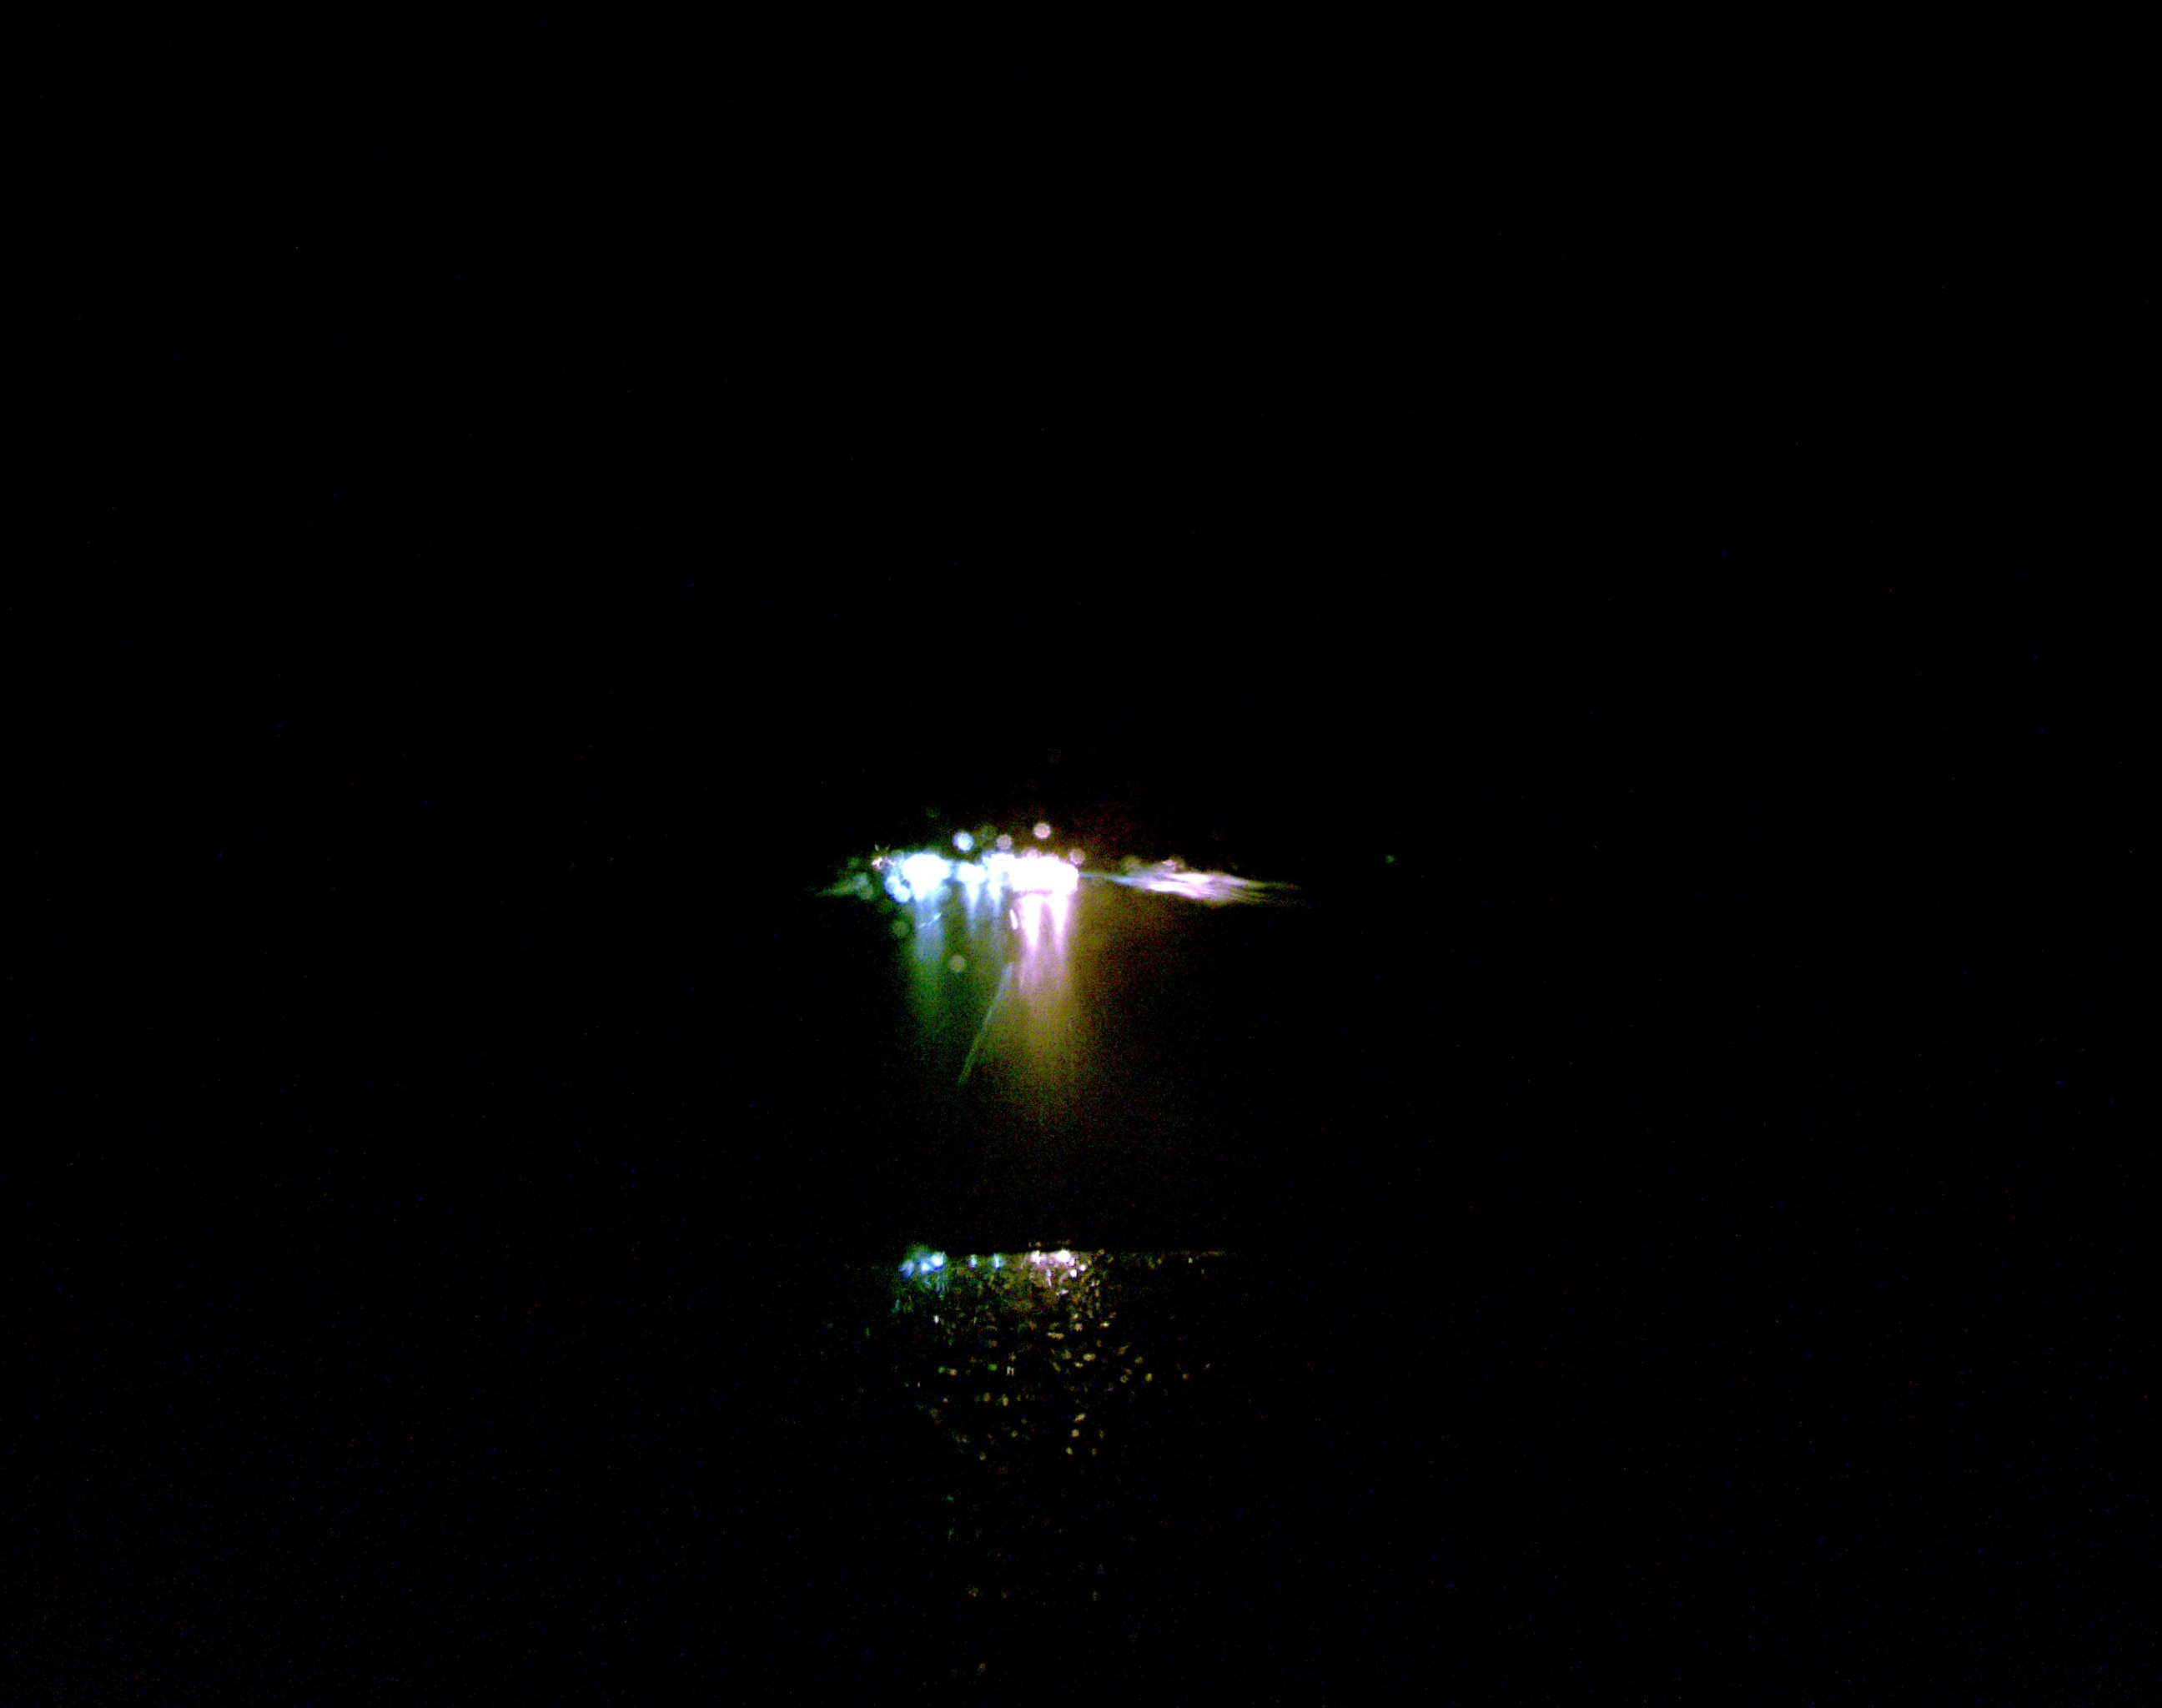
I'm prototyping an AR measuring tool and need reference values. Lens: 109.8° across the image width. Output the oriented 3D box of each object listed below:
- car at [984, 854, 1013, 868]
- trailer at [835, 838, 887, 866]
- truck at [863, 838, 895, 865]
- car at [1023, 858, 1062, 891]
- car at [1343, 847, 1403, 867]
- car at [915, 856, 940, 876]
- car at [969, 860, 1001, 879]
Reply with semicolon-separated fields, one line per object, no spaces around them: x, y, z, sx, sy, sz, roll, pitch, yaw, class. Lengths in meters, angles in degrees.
-10.941;0.943;101.049;1.793;1.641;4.042;-3;0;-40;car
-37.115;-0.279;127.720;2.545;4.312;13.672;-3;1;-41;trailer
-32.559;-0.381;122.504;2.545;4.312;5.548;-3;1;-41;truck
-1.902;0.956;36.453;1.687;1.442;3.640;-2;0;-5;car
23.530;0.271;61.260;1.893;1.532;4.099;-2;1;-40;car
-13.813;1.088;68.387;1.743;1.674;4.115;-3;0;-17;car
-7.260;1.152;57.159;1.762;1.304;4.080;-1;0;-16;car
